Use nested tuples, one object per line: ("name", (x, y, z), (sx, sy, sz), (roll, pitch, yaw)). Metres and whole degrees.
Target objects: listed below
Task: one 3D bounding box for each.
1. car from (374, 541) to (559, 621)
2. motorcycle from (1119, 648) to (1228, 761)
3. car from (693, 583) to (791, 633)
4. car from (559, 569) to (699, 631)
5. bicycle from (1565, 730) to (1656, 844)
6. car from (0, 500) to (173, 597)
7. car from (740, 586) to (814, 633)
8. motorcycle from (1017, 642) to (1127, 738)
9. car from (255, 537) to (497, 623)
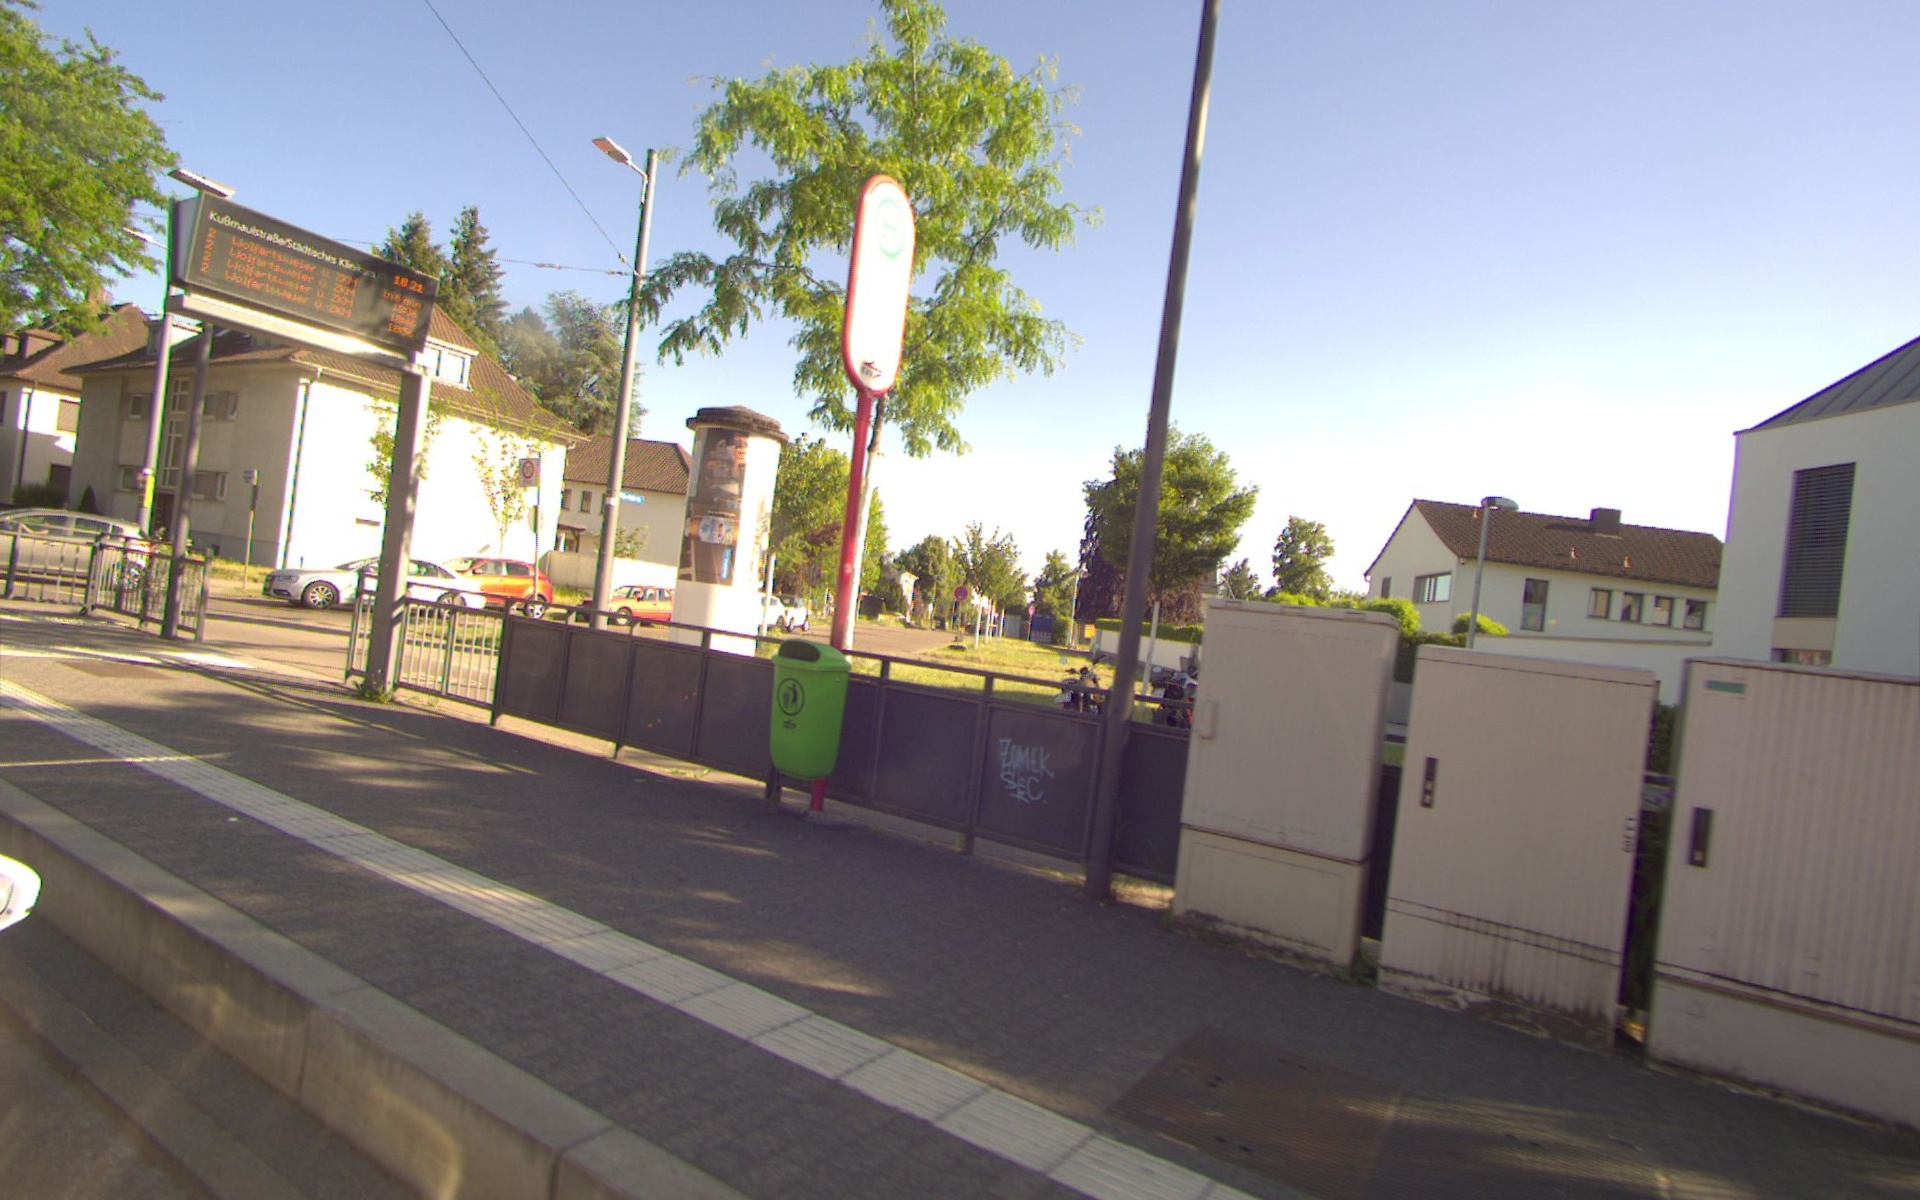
("car", (-13.802, -0.480, 28.369), (1.948, 1.661, 4.171), (7, -2, 30))
("motorcycle", (2.905, 1.368, 13.480), (0.847, 1.289, 2.083), (7, -1, 25))
("car", (-8.472, 0.361, 39.535), (1.944, 1.525, 4.180), (7, -2, 15))
("car", (-10.958, 0.053, 33.626), (1.947, 1.525, 4.175), (7, -2, 26))
("bicycle", (7.182, 2.023, 11.173), (0.482, 0.990, 1.903), (7, -1, 25))
("car", (-18.369, -1.116, 19.938), (1.954, 1.525, 3.983), (6, -2, 41))
("car", (-7.930, 0.452, 43.894), (1.962, 1.591, 4.006), (8, -2, 6))
("motorcycle", (1.641, 1.266, 14.341), (0.847, 1.171, 2.004), (7, -1, 25))
("car", (-13.892, -0.446, 24.129), (1.957, 1.483, 4.594), (4, -3, 44))
